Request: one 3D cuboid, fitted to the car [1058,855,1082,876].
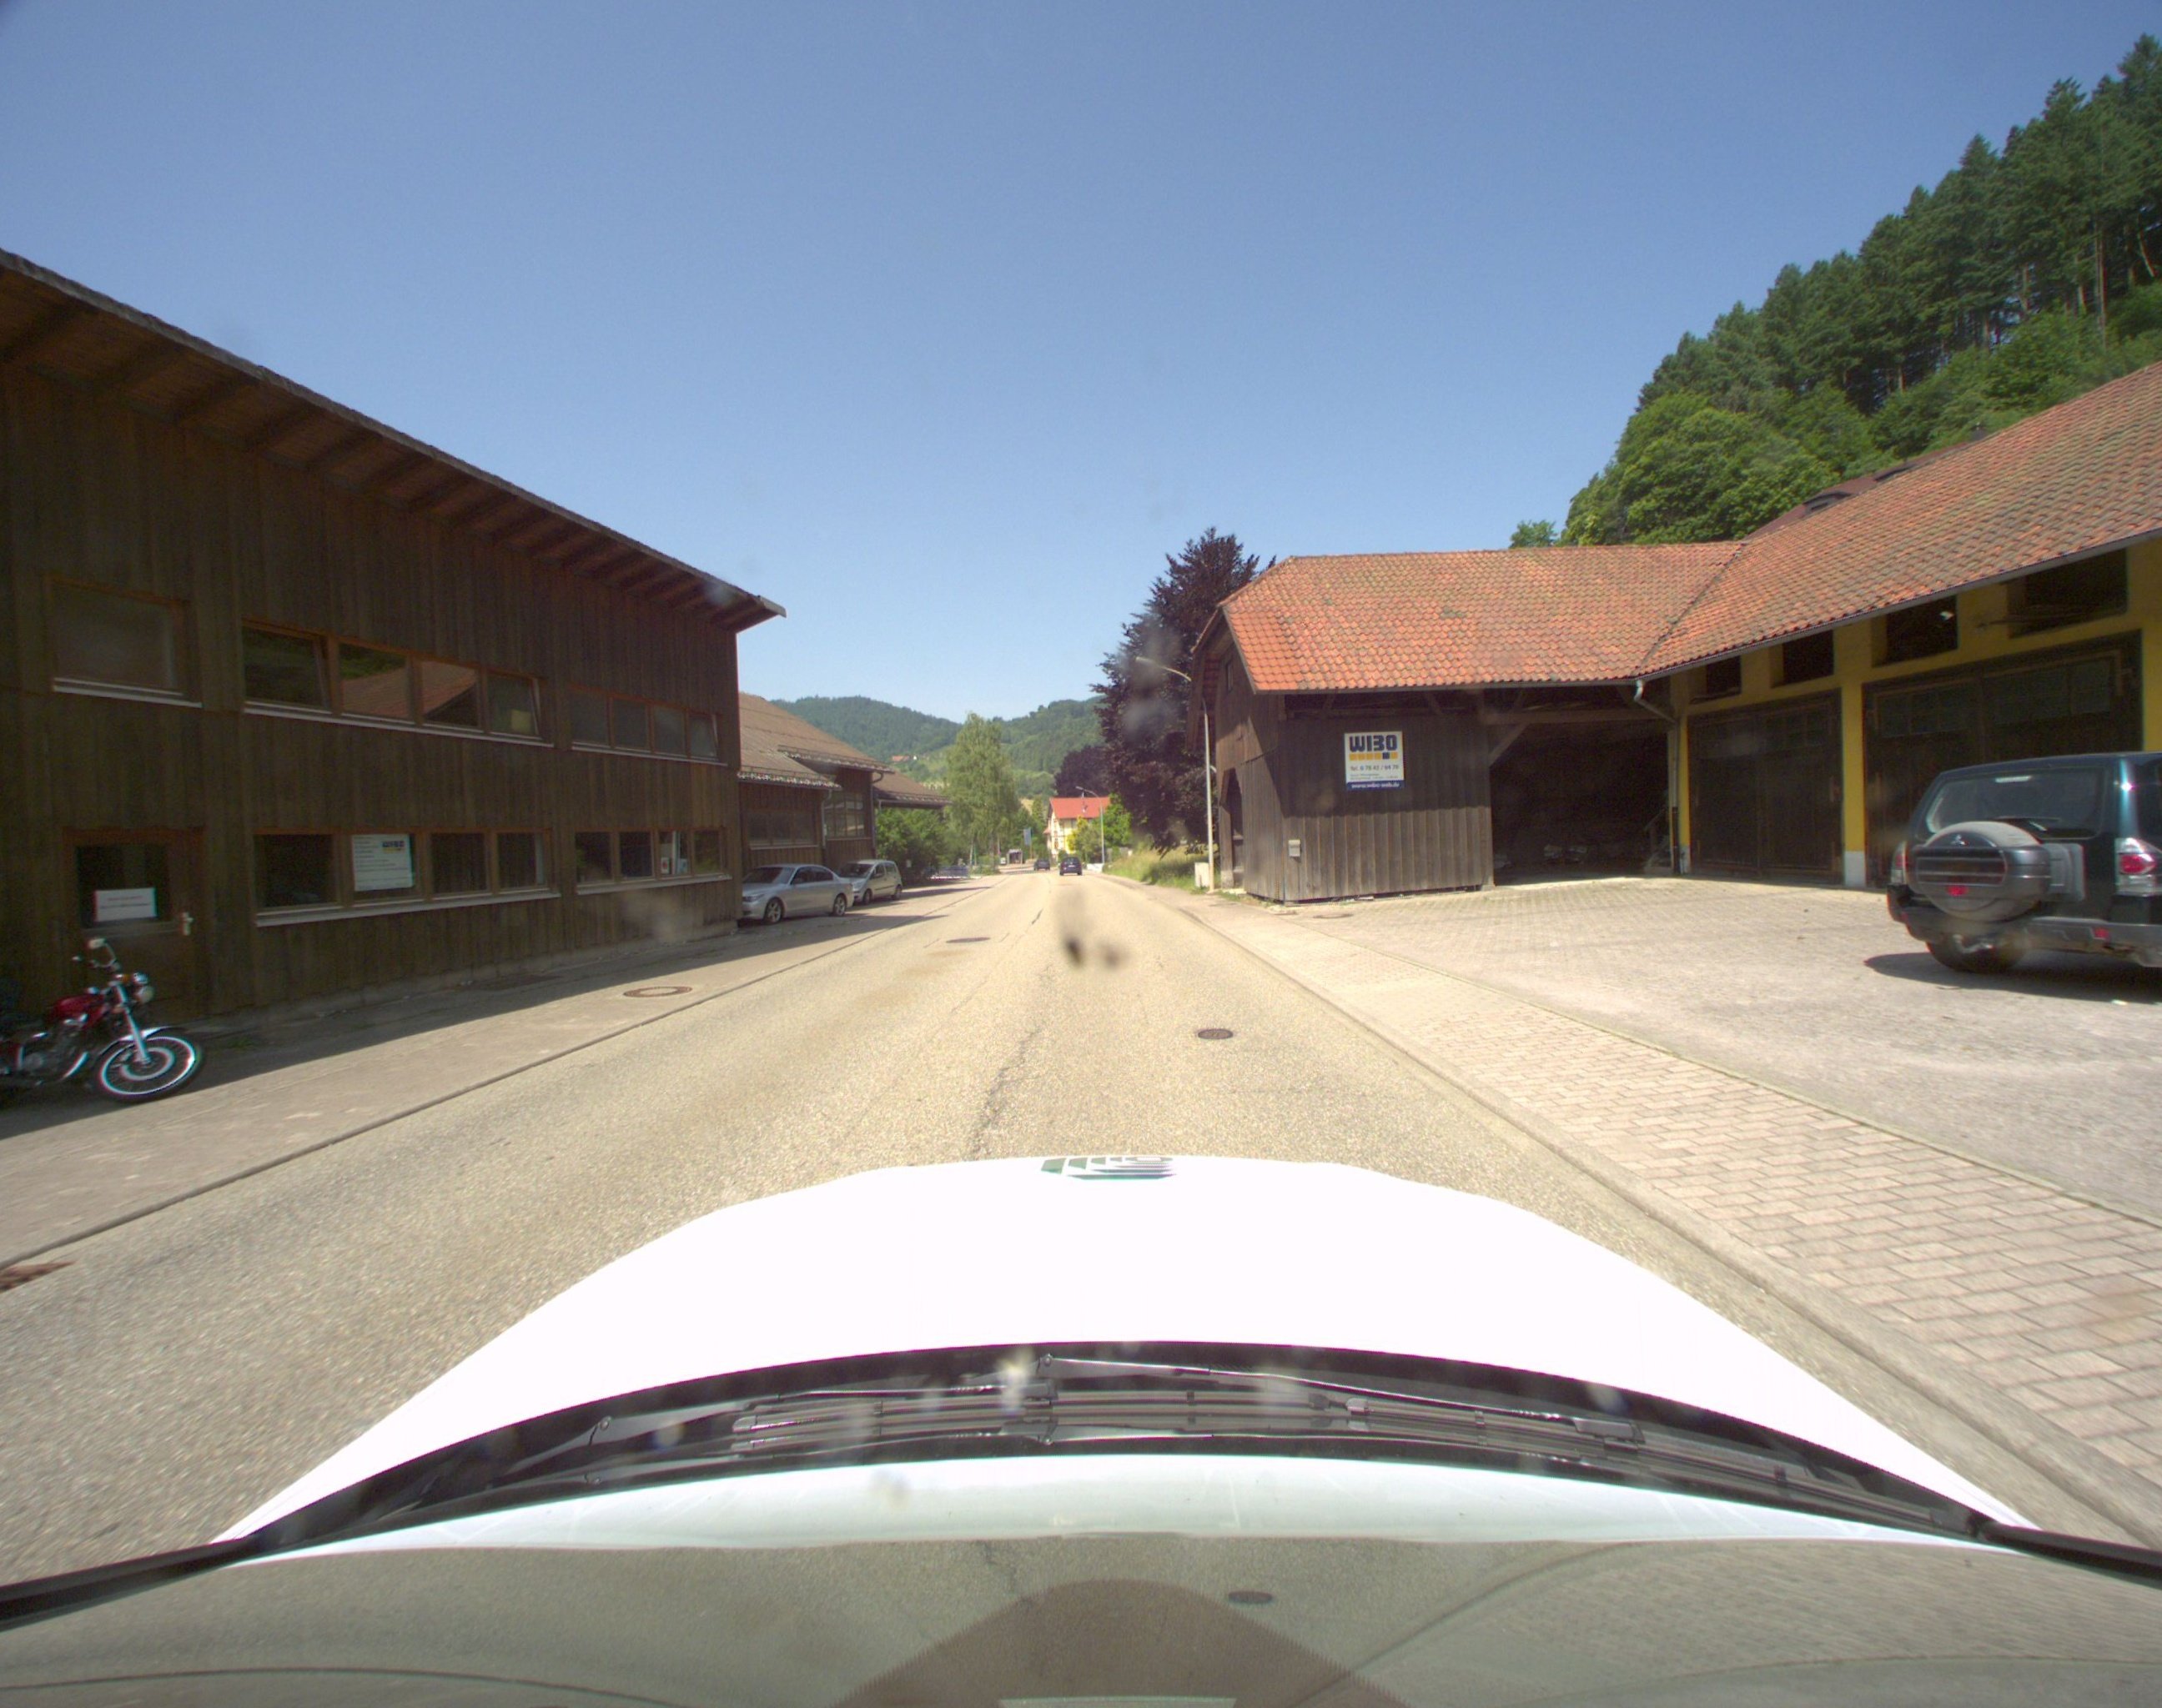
[{"bbox_3d":[-0.967,0.995,70.193,1.915,1.698,3.784,-3,0,-3],"label":"car"}]

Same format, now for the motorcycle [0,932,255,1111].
[{"bbox_3d":[-8.220,1.353,6.689,2.393,1.264,0.745,-3,0,10],"label":"motorcycle"}]

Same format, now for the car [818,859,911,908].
[{"bbox_3d":[-7.912,1.032,30.140,1.570,1.570,4.037,1,1,13],"label":"car"}]

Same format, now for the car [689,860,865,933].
[{"bbox_3d":[-7.586,1.001,20.942,1.716,1.454,4.824,-2,1,15],"label":"car"}]

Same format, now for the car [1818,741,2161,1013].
[{"bbox_3d":[8.939,0.050,6.644,4.117,1.832,1.952,-3,0,-3],"label":"car"}]

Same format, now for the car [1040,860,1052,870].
[{"bbox_3d":[-4.556,1.379,106.129,1.474,1.209,2.381,-3,0,-4],"label":"car"}]
